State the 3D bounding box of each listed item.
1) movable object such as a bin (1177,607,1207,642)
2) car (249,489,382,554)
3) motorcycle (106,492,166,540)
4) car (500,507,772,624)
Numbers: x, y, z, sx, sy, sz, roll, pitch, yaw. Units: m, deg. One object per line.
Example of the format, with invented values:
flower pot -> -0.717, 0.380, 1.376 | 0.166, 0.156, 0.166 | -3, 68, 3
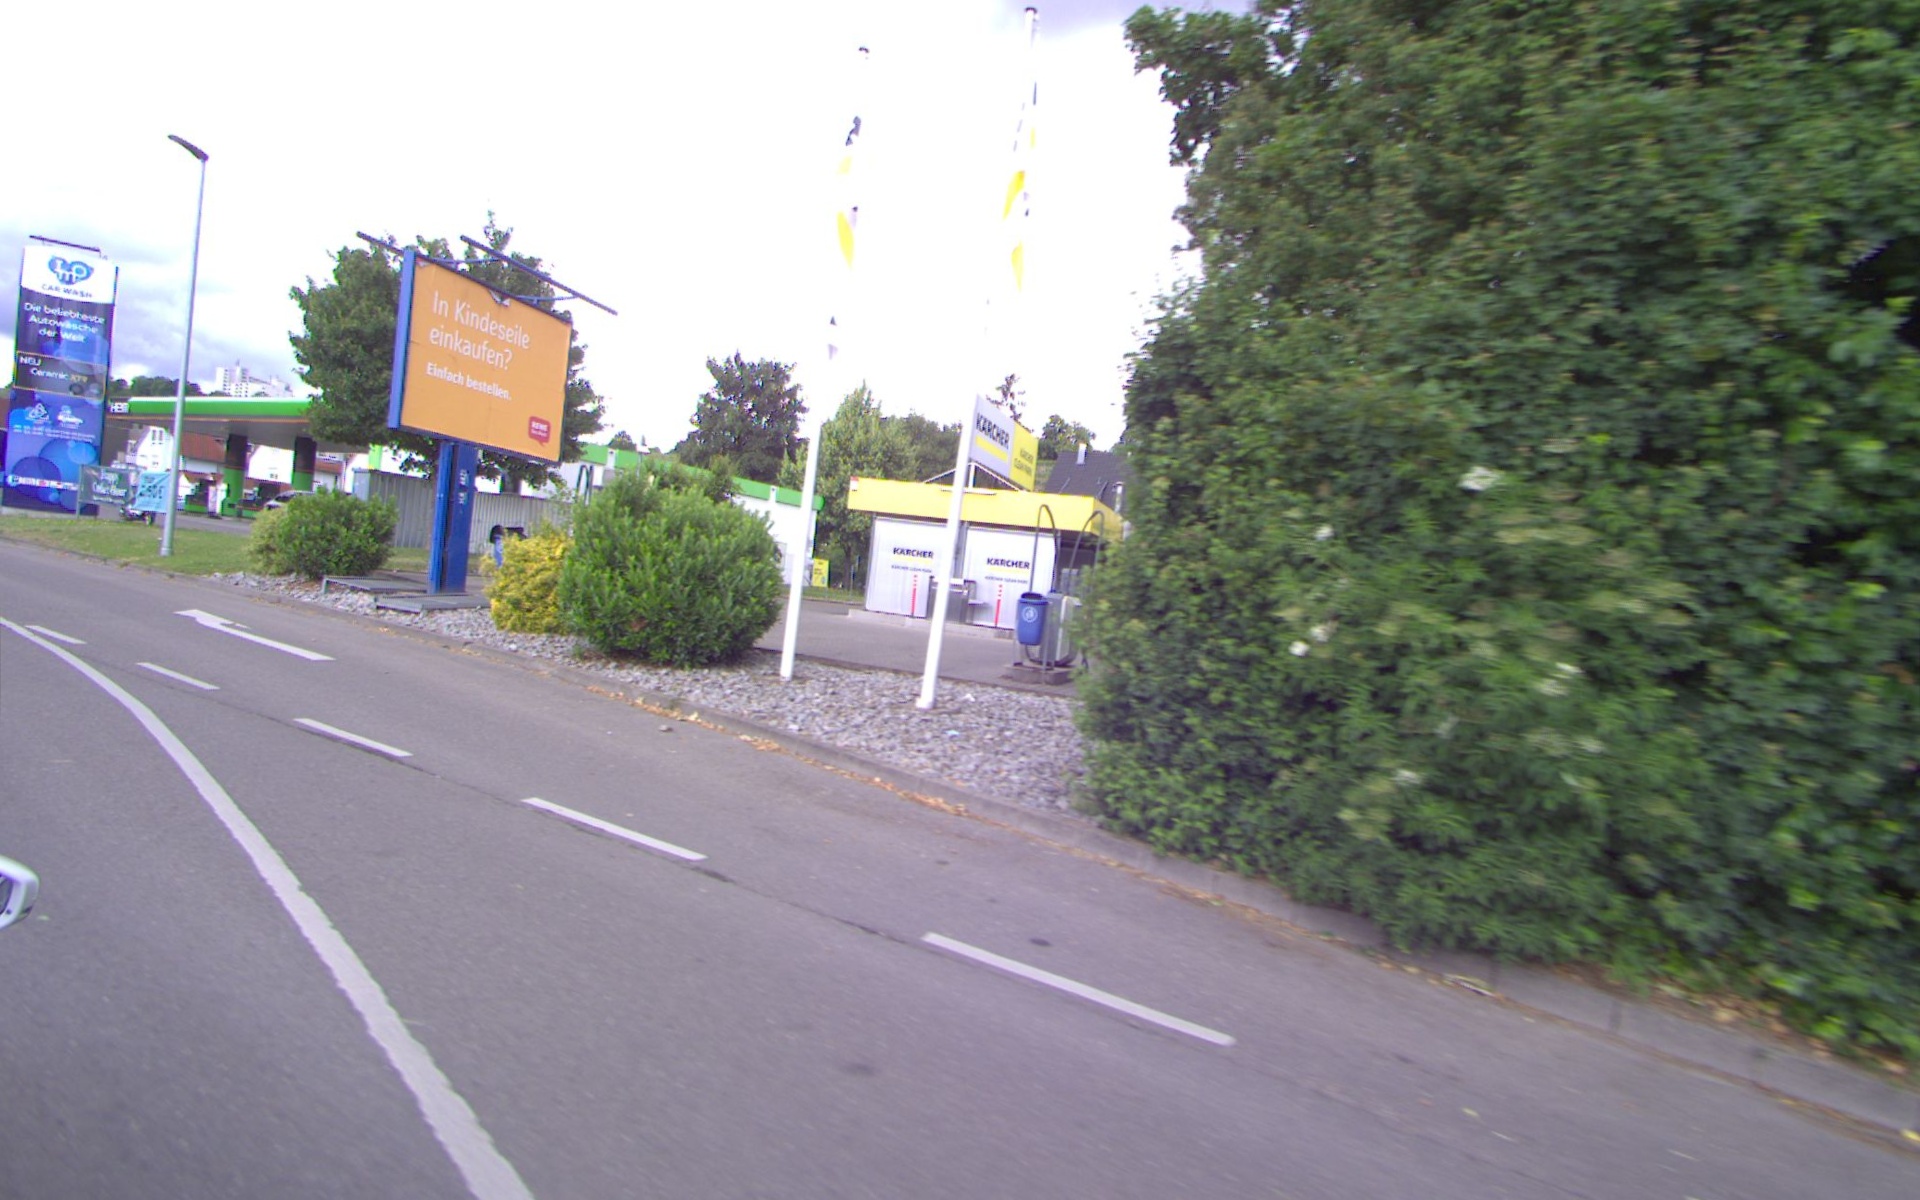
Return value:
movable object such as a bin -> 12.033, 1.274, 52.141 | 1.241, 1.609, 0.867 | 7, 0, 21
car -> -20.434, -2.501, 31.845 | 4.265, 1.697, 1.821 | 6, 2, 31
motorcycle -> -26.804, -2.722, 32.710 | 1.957, 1.348, 0.856 | 7, 2, 32
car -> -5.982, -0.583, 19.126 | 2.892, 1.677, 4.027 | 7, 1, 22
